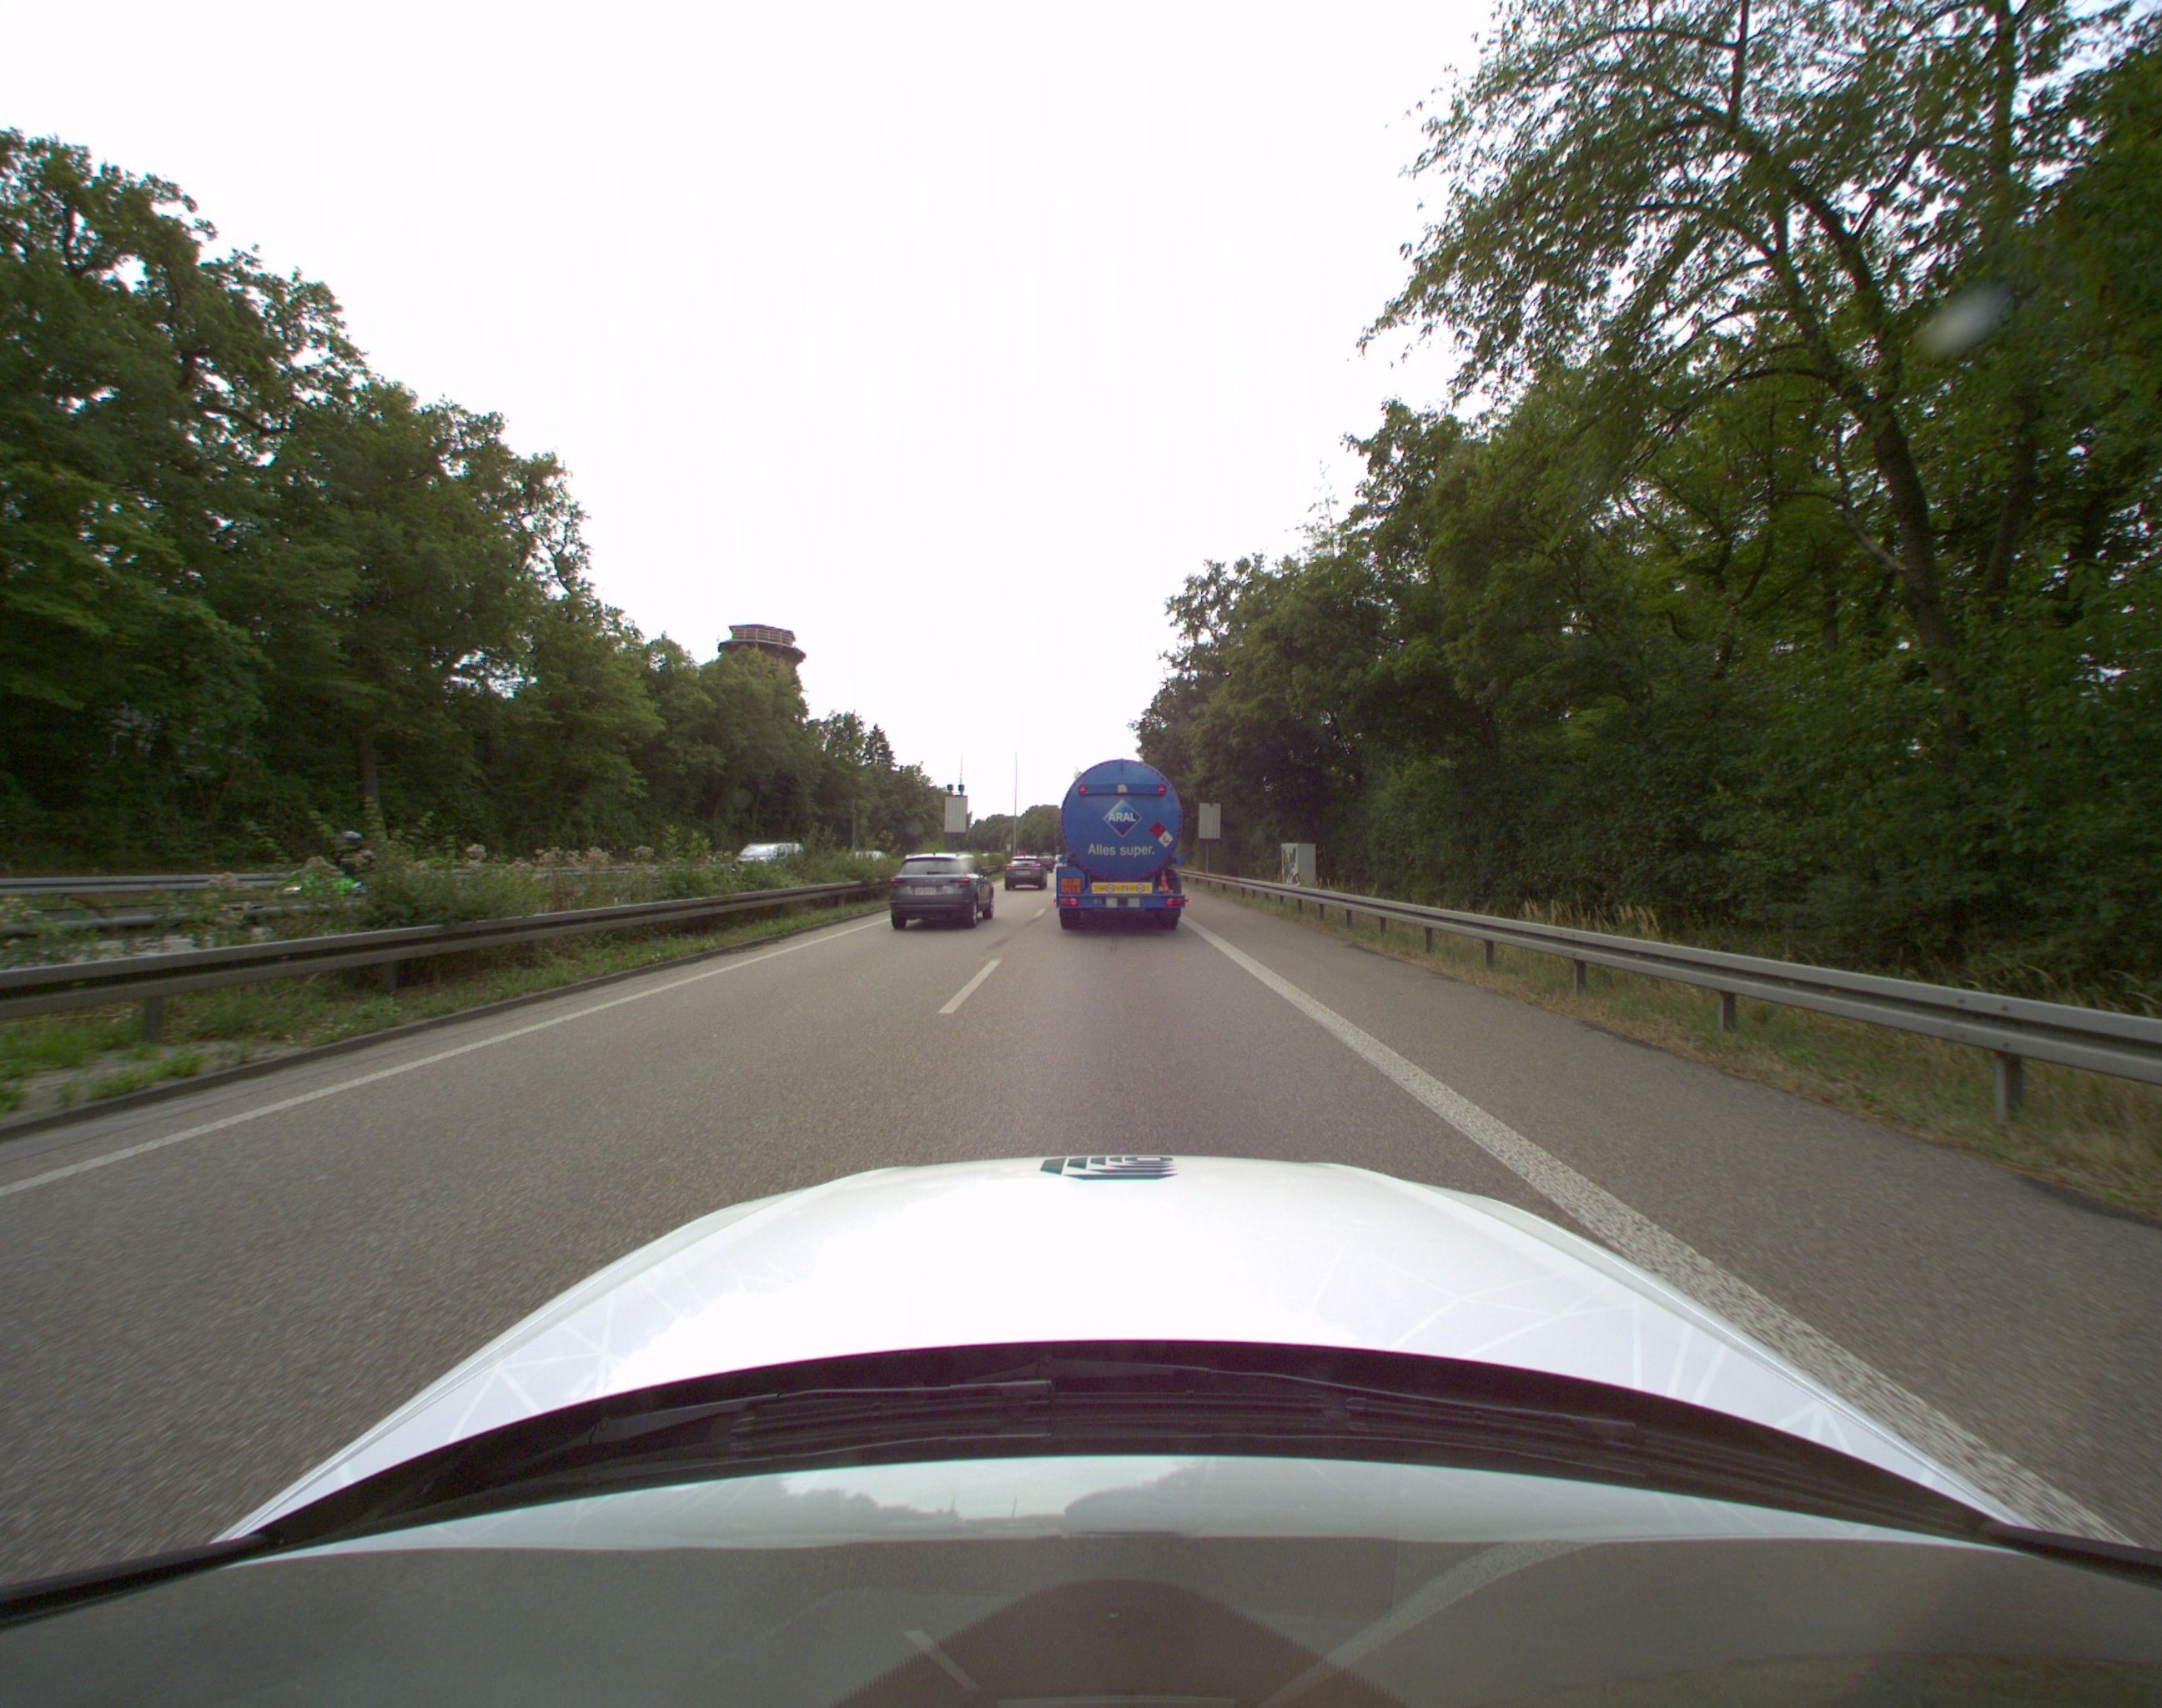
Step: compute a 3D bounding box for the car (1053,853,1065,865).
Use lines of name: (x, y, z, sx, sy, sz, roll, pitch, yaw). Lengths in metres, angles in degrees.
car: (-4.145, 0.950, 153.287, 1.986, 2.245, 4.001, 0, -1, 2)

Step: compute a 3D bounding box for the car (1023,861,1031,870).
car: (-14.091, 2.935, 212.731, 1.990, 2.245, 3.992, 0, -1, -5)

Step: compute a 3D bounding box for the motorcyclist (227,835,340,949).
motorcyclist: (-11.285, 0.524, 11.555, 0.678, 1.549, 0.846, 1, -1, 1)

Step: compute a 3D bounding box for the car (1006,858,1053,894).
car: (-2.362, 1.016, 38.249, 1.819, 1.609, 4.168, 0, -1, 2)

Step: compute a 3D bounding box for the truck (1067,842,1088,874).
truck: (-0.317, 0.493, 83.629, 1.987, 3.093, 7.814, 0, -1, 1)

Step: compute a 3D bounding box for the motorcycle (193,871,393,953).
motorcycle: (-11.272, 0.781, 11.788, 0.699, 1.067, 2.196, 0, -1, 1)

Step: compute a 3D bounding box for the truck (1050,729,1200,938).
truck: (0.929, -0.310, 18.928, 2.745, 3.847, 7.690, 0, -1, 2)

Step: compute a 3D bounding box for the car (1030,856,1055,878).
car: (-3.622, 1.229, 76.786, 1.986, 2.014, 4.001, 0, -1, 2)

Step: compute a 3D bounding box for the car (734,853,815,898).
car: (-14.619, 1.015, 39.153, 1.790, 2.014, 5.302, 0, -1, 1)

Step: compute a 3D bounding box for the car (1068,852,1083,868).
car: (-0.774, 0.925, 117.270, 1.985, 2.245, 4.003, 0, -1, 3)

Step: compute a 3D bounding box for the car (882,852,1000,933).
car: (-3.026, 0.812, 18.481, 1.819, 1.609, 4.168, 0, -1, 2)
